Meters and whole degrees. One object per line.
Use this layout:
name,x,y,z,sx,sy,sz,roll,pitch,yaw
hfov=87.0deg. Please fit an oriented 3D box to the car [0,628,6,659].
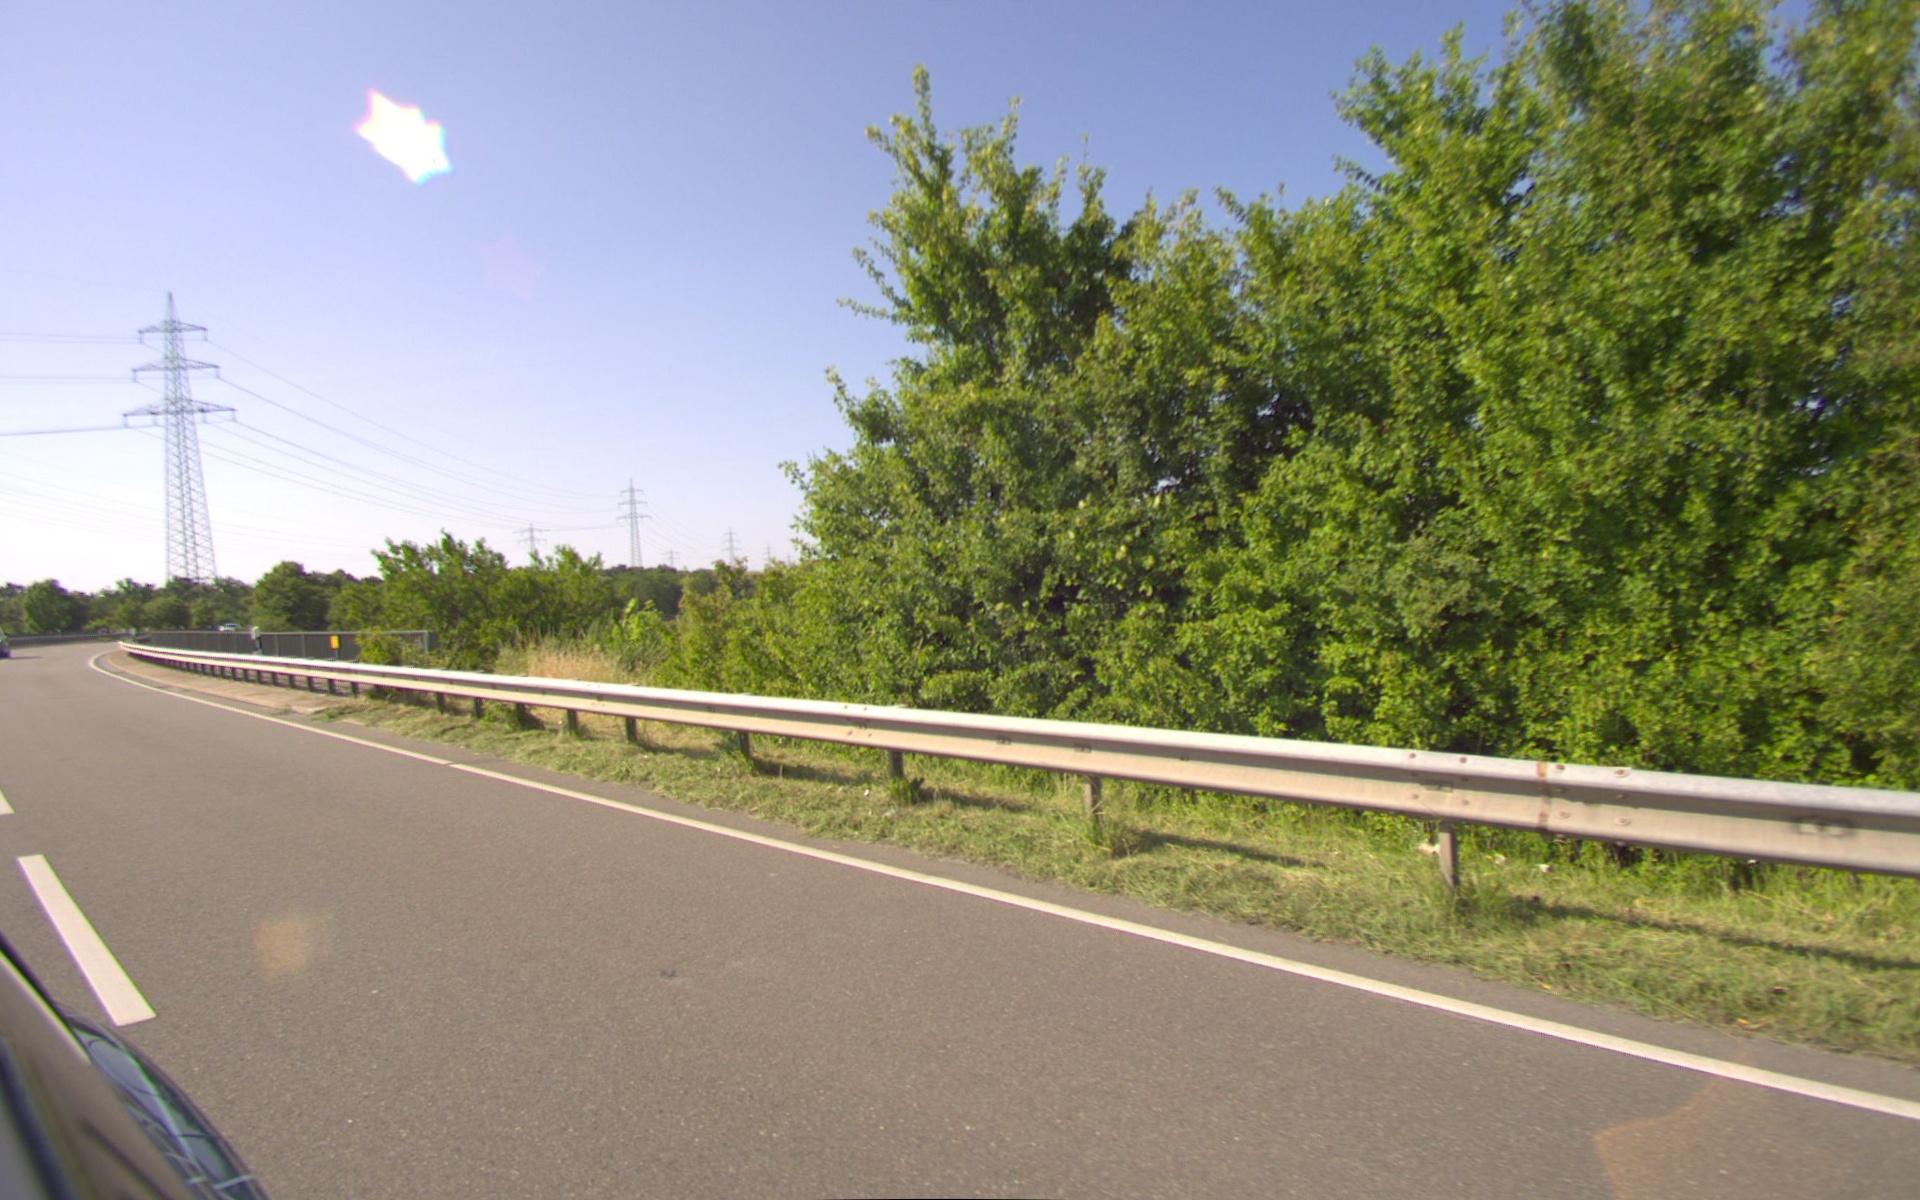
car,-48.829,2.210,50.436,1.583,1.506,4.007,-2,1,-40
